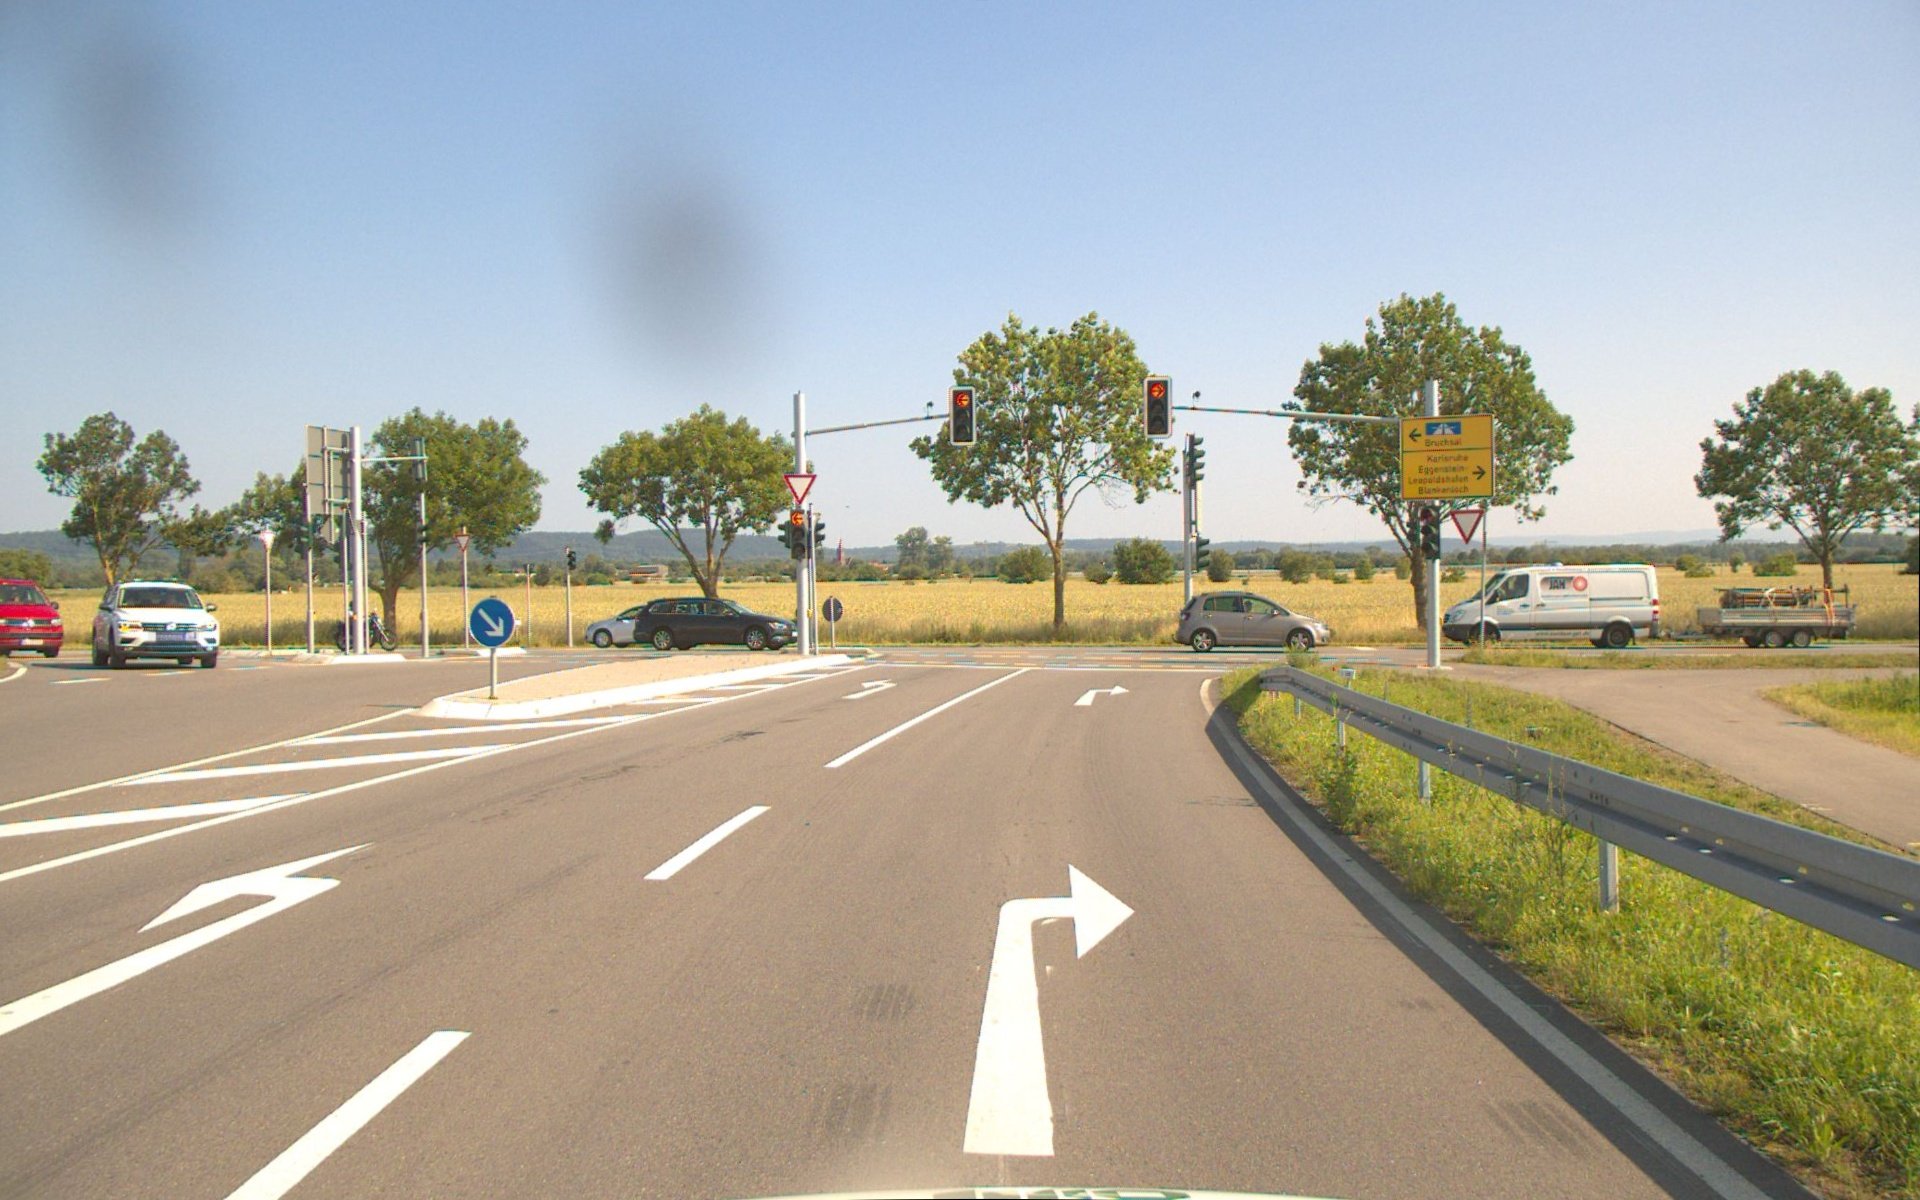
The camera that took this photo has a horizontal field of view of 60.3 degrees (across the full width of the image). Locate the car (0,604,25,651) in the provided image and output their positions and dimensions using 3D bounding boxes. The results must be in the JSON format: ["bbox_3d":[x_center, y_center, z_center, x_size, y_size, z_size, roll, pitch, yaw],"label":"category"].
[{"bbox_3d":[-32.415,0.921,53.396,3.648,1.482,1.730,-1,1,15],"label":"car"}]

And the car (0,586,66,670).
[{"bbox_3d":[-24.867,0.681,42.662,4.843,1.974,1.827,1,2,44],"label":"car"}]

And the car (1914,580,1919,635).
[{"bbox_3d":[29.328,0.243,45.651,4.766,1.536,2.001,1,0,4],"label":"car"}]

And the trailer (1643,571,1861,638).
[{"bbox_3d":[22.061,0.139,46.258,5.148,1.784,1.955,-1,0,7],"label":"trailer"}]

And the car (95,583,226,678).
[{"bbox_3d":[-15.644,0.653,32.248,1.676,1.703,4.806,2,-3,-33],"label":"car"}]

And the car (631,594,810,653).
[{"bbox_3d":[-6.723,0.642,46.561,4.572,1.545,1.924,0,2,12],"label":"car"}]

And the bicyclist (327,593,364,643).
[{"bbox_3d":[-18.846,0.539,50.706,0.791,1.515,0.758,1,0,4],"label":"bicyclist"}]

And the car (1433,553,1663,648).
[{"bbox_3d":[16.598,0.012,46.930,5.830,2.536,2.001,1,0,7],"label":"car"}]

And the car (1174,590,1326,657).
[{"bbox_3d":[7.739,0.610,44.392,3.871,1.697,1.765,1,0,6],"label":"car"}]

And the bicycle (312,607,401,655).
[{"bbox_3d":[-18.498,0.948,50.708,2.439,1.421,0.732,1,0,4],"label":"bicycle"}]
